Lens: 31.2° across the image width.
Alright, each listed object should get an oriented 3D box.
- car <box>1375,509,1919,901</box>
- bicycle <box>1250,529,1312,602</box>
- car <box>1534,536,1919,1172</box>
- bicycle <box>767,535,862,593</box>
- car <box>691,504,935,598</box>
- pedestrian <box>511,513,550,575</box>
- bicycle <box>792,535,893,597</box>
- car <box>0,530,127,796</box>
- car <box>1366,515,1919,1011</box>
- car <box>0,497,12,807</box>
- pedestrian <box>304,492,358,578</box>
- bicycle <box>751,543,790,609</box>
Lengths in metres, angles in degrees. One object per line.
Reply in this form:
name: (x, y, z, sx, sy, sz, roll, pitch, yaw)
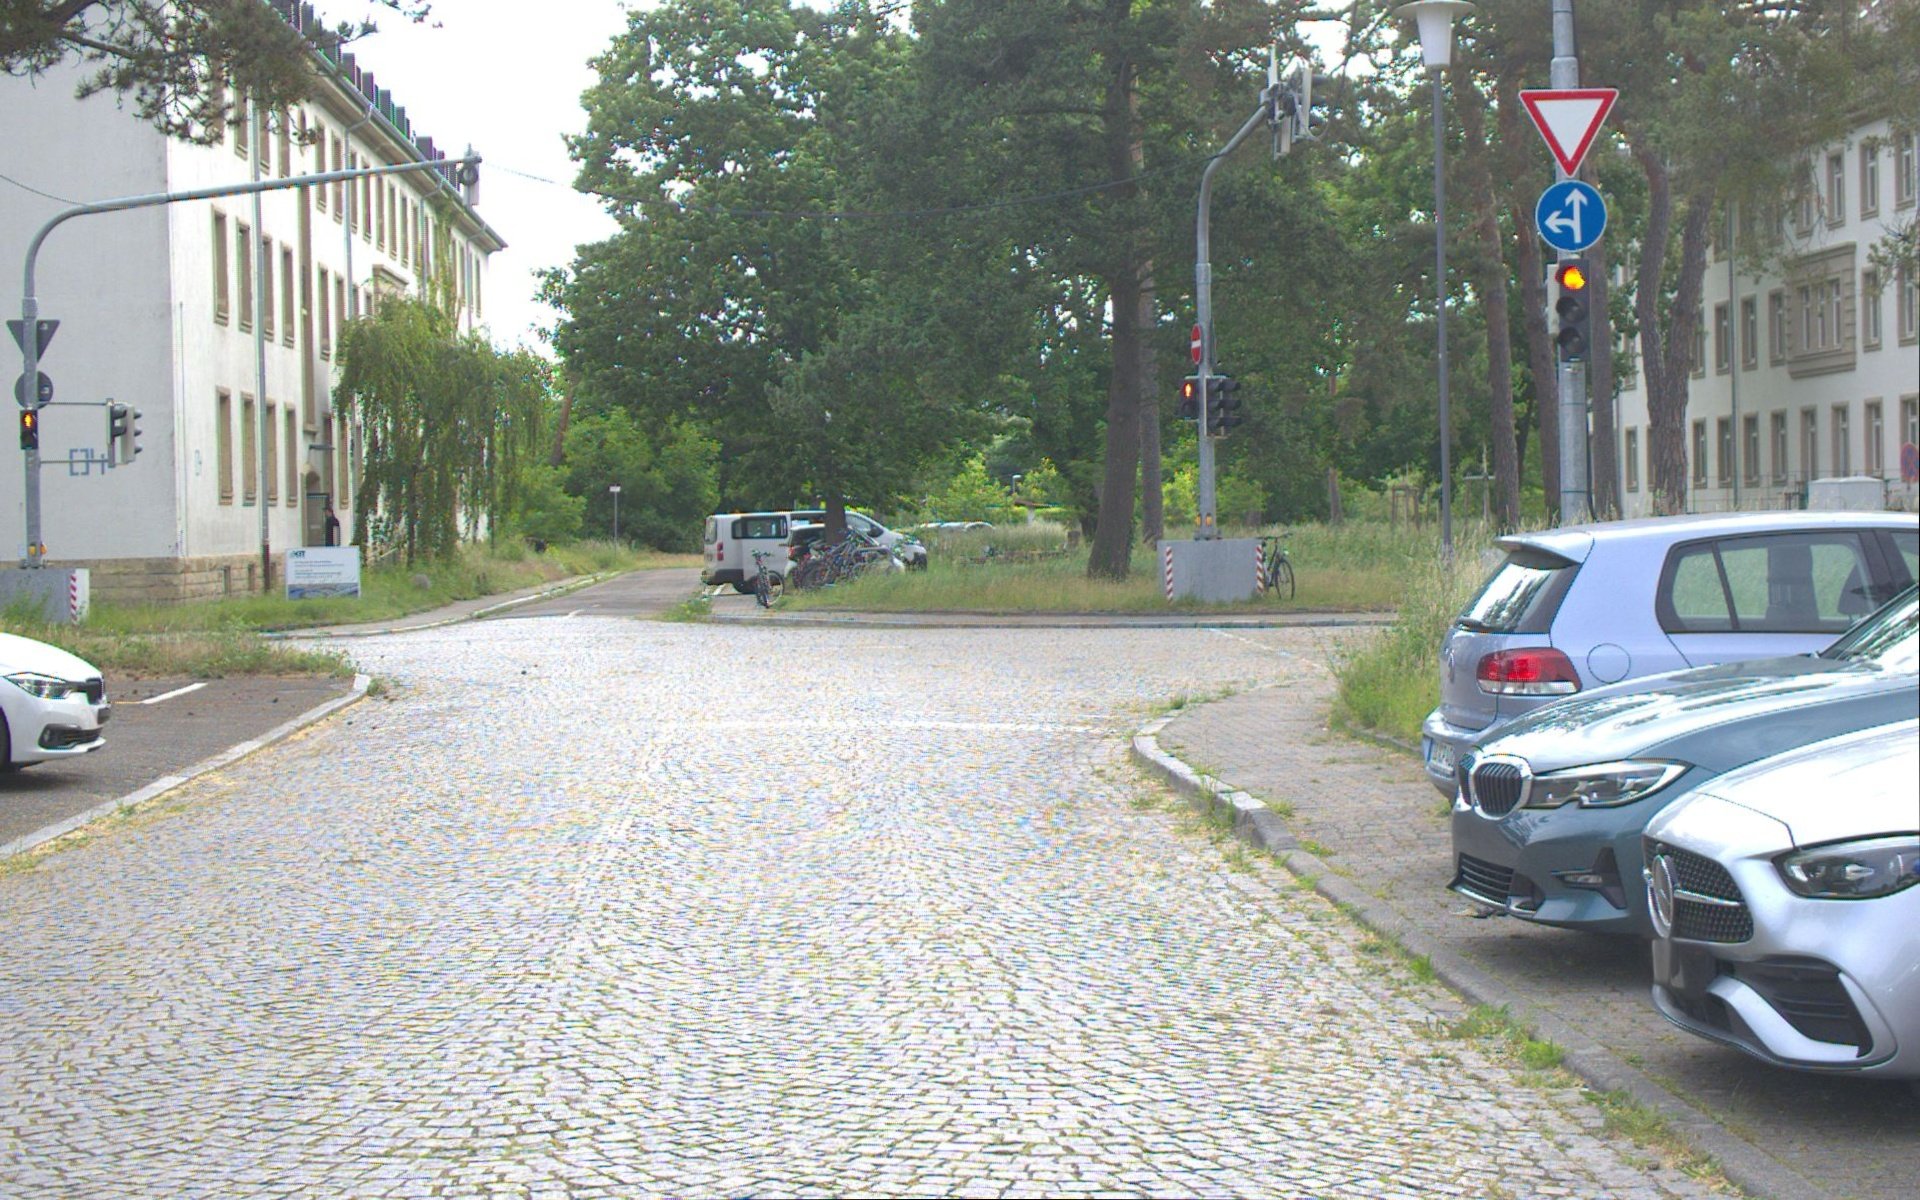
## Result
car: (3.997, 0.355, 14.507, 4.134, 1.458, 1.634, -2, 1, -8)
bicycle: (4.796, -0.530, 51.423, 0.663, 1.047, 1.888, 0, 2, -3)
car: (3.847, 0.516, 9.176, 4.184, 1.432, 1.756, -2, 1, -10)
bicycle: (-2.962, -0.730, 69.866, 1.881, 1.167, 0.665, 0, 1, -8)
car: (-3.473, -1.172, 81.158, 5.374, 2.094, 2.179, -1, 1, -15)
pedestrian: (-13.792, -1.796, 110.386, 1.239, 1.952, 1.121, 0, 1, -8)
bicycle: (-2.276, -0.661, 66.396, 1.881, 1.167, 0.665, 0, 1, -8)
car: (-7.385, 0.420, 20.939, 4.297, 1.548, 1.812, -2, 1, -8)
car: (3.724, 0.439, 11.940, 4.227, 1.474, 1.710, -2, 2, -13)
car: (-7.450, 0.374, 18.478, 4.297, 1.726, 1.653, -2, 1, -8)
pedestrian: (-14.338, -1.483, 78.370, 1.074, 1.952, 1.121, 0, 1, -3)
bicycle: (-3.397, -0.437, 61.711, 0.663, 1.167, 1.888, 0, 1, -3)
